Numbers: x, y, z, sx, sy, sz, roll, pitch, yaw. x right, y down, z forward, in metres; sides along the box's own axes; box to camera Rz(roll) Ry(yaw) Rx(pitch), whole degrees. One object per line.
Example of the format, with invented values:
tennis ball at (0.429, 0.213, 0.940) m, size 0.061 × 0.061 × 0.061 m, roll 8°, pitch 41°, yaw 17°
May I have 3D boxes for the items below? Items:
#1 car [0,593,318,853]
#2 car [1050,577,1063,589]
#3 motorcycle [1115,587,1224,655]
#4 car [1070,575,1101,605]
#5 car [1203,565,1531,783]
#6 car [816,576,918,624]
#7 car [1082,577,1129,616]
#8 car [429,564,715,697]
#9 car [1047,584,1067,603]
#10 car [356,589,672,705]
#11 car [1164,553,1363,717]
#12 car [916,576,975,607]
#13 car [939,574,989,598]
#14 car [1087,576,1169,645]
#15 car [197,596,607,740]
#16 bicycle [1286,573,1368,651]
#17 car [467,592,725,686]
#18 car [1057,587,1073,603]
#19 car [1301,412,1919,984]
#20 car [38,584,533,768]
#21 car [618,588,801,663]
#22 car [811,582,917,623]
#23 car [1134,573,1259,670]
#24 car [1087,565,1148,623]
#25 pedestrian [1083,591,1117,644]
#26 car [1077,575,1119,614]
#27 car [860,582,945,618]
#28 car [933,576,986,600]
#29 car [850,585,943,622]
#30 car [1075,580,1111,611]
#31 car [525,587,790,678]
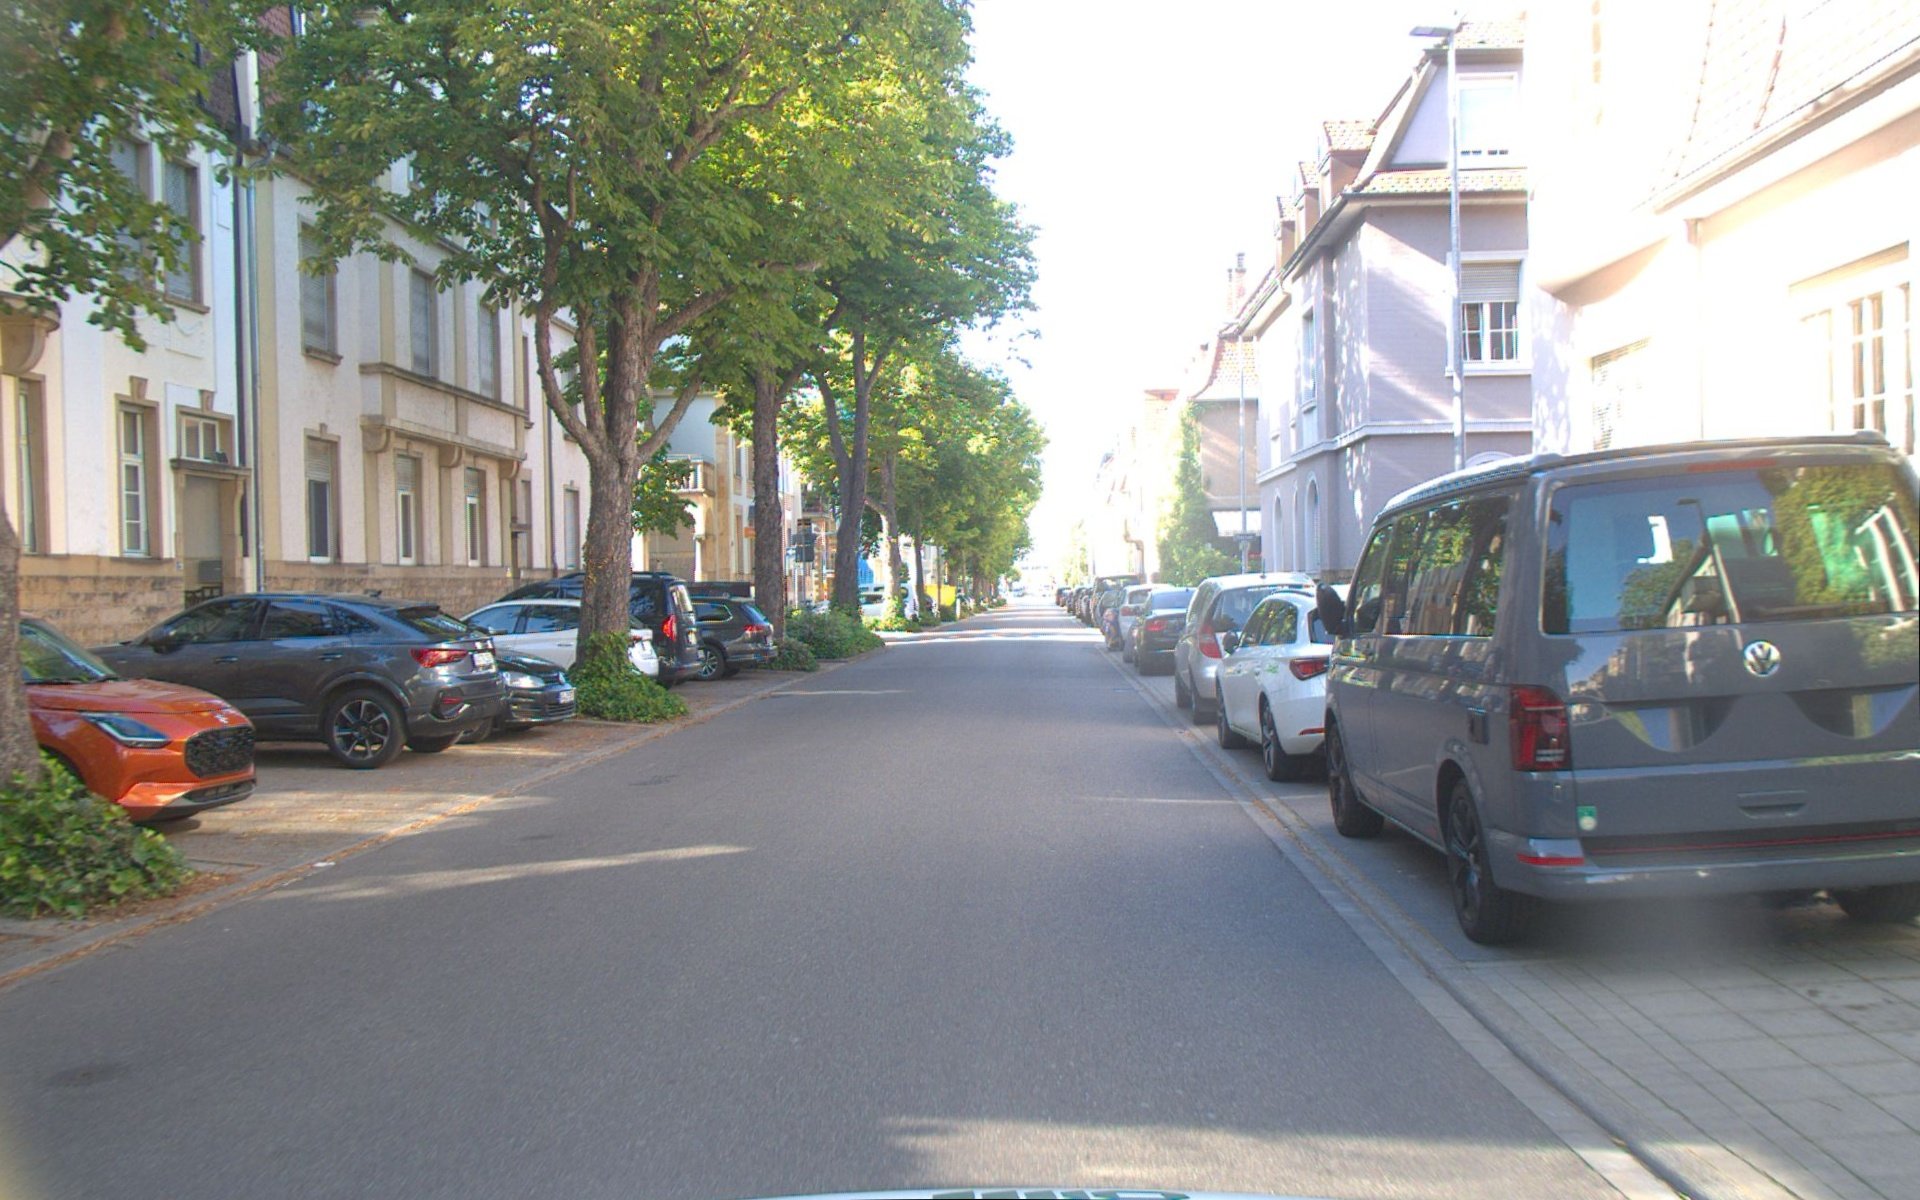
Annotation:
car at (-6.502, 0.759, 10.813) m, size 3.904 × 1.541 × 1.748 m, roll -1°, pitch 0°, yaw 2°
car at (14.120, -2.463, 242.155) m, size 1.734 × 1.659 × 3.868 m, roll -1°, pitch 1°, yaw 4°
motorcycle at (4.351, 0.432, 34.427) m, size 2.148 × 1.362 × 0.921 m, roll 1°, pitch 1°, yaw 0°
car at (7.281, -0.589, 96.072) m, size 1.734 × 1.659 × 3.868 m, roll -1°, pitch 1°, yaw 4°
car at (3.221, 0.502, 13.980) m, size 1.644 × 1.483 × 4.439 m, roll -2°, pitch 1°, yaw 0°
car at (-3.616, -0.002, 65.050) m, size 3.906 × 1.791 × 1.797 m, roll 1°, pitch 0°, yaw -1°
car at (5.943, -0.182, 67.797) m, size 1.656 × 1.422 × 3.807 m, roll -4°, pitch 1°, yaw 3°
car at (-5.882, 0.447, 25.407) m, size 3.897 × 1.888 × 1.829 m, roll -1°, pitch 0°, yaw 1°
car at (8.872, -0.640, 150.521) m, size 1.734 × 1.659 × 3.868 m, roll -1°, pitch 1°, yaw 4°
car at (-6.120, 0.630, 23.012) m, size 3.906 × 1.473 × 1.741 m, roll -1°, pitch 0°, yaw -1°
car at (3.476, 0.319, 19.606) m, size 1.752 × 1.627 × 4.003 m, roll -4°, pitch 1°, yaw 4°
car at (-1.034, -0.595, 115.571) m, size 3.910 × 2.049 × 1.998 m, roll -2°, pitch 0°, yaw -6°
car at (0.343, -1.135, 136.220) m, size 3.922 × 1.873 × 2.002 m, roll 1°, pitch 1°, yaw 5°
car at (4.233, 0.245, 42.176) m, size 1.664 × 1.566 × 4.156 m, roll -4°, pitch 0°, yaw 1°
car at (-6.047, 0.709, 18.160) m, size 3.819 × 1.471 × 1.861 m, roll 0°, pitch 0°, yaw 7°
bicycle at (6.911, 0.205, 31.241) m, size 1.060 × 1.361 × 2.251 m, roll -2°, pitch 1°, yaw 2°
car at (-6.063, 0.630, 27.862) m, size 3.898 × 1.462 × 1.829 m, roll -1°, pitch 0°, yaw 0°
car at (11.377, -0.573, 179.021) m, size 1.734 × 1.659 × 3.868 m, roll -1°, pitch 1°, yaw 4°
car at (3.042, 0.313, 8.245) m, size 1.826 × 1.949 × 4.784 m, roll -3°, pitch 1°, yaw 3°
car at (-6.278, 0.675, 15.715) m, size 3.904 × 1.620 × 1.860 m, roll 0°, pitch 0°, yaw 2°
car at (-5.334, 0.531, 35.483) m, size 3.598 × 1.513 × 1.642 m, roll -1°, pitch 0°, yaw 2°
car at (-3.611, 0.089, 62.798) m, size 3.906 × 1.490 × 1.797 m, roll 1°, pitch 0°, yaw -1°
car at (4.212, 0.331, 30.052) m, size 1.816 × 1.519 × 4.610 m, roll -3°, pitch 0°, yaw 4°
car at (5.794, -0.249, 61.260) m, size 1.865 × 1.902 × 4.675 m, roll -4°, pitch 1°, yaw 3°
pedestrian at (3.473, 0.436, 41.094) m, size 0.709 × 1.279 × 0.646 m, roll -2°, pitch 0°, yaw -5°
car at (6.120, -0.272, 73.599) m, size 1.752 × 1.646 × 3.868 m, roll -1°, pitch 1°, yaw 4°
car at (-2.776, -0.021, 78.755) m, size 3.910 × 1.579 × 1.835 m, roll -2°, pitch 1°, yaw -6°
car at (-0.051, -0.900, 127.472) m, size 3.922 × 1.765 × 1.896 m, roll 1°, pitch 1°, yaw 5°
car at (-2.789, 0.133, 73.553) m, size 3.903 × 1.495 × 1.865 m, roll -1°, pitch 1°, yaw 5°
car at (6.799, -0.240, 84.761) m, size 1.734 × 1.480 × 3.868 m, roll -1°, pitch 1°, yaw 4°
car at (-5.449, 0.567, 30.195) m, size 4.438 × 1.529 × 1.892 m, roll -1°, pitch 0°, yaw 1°
